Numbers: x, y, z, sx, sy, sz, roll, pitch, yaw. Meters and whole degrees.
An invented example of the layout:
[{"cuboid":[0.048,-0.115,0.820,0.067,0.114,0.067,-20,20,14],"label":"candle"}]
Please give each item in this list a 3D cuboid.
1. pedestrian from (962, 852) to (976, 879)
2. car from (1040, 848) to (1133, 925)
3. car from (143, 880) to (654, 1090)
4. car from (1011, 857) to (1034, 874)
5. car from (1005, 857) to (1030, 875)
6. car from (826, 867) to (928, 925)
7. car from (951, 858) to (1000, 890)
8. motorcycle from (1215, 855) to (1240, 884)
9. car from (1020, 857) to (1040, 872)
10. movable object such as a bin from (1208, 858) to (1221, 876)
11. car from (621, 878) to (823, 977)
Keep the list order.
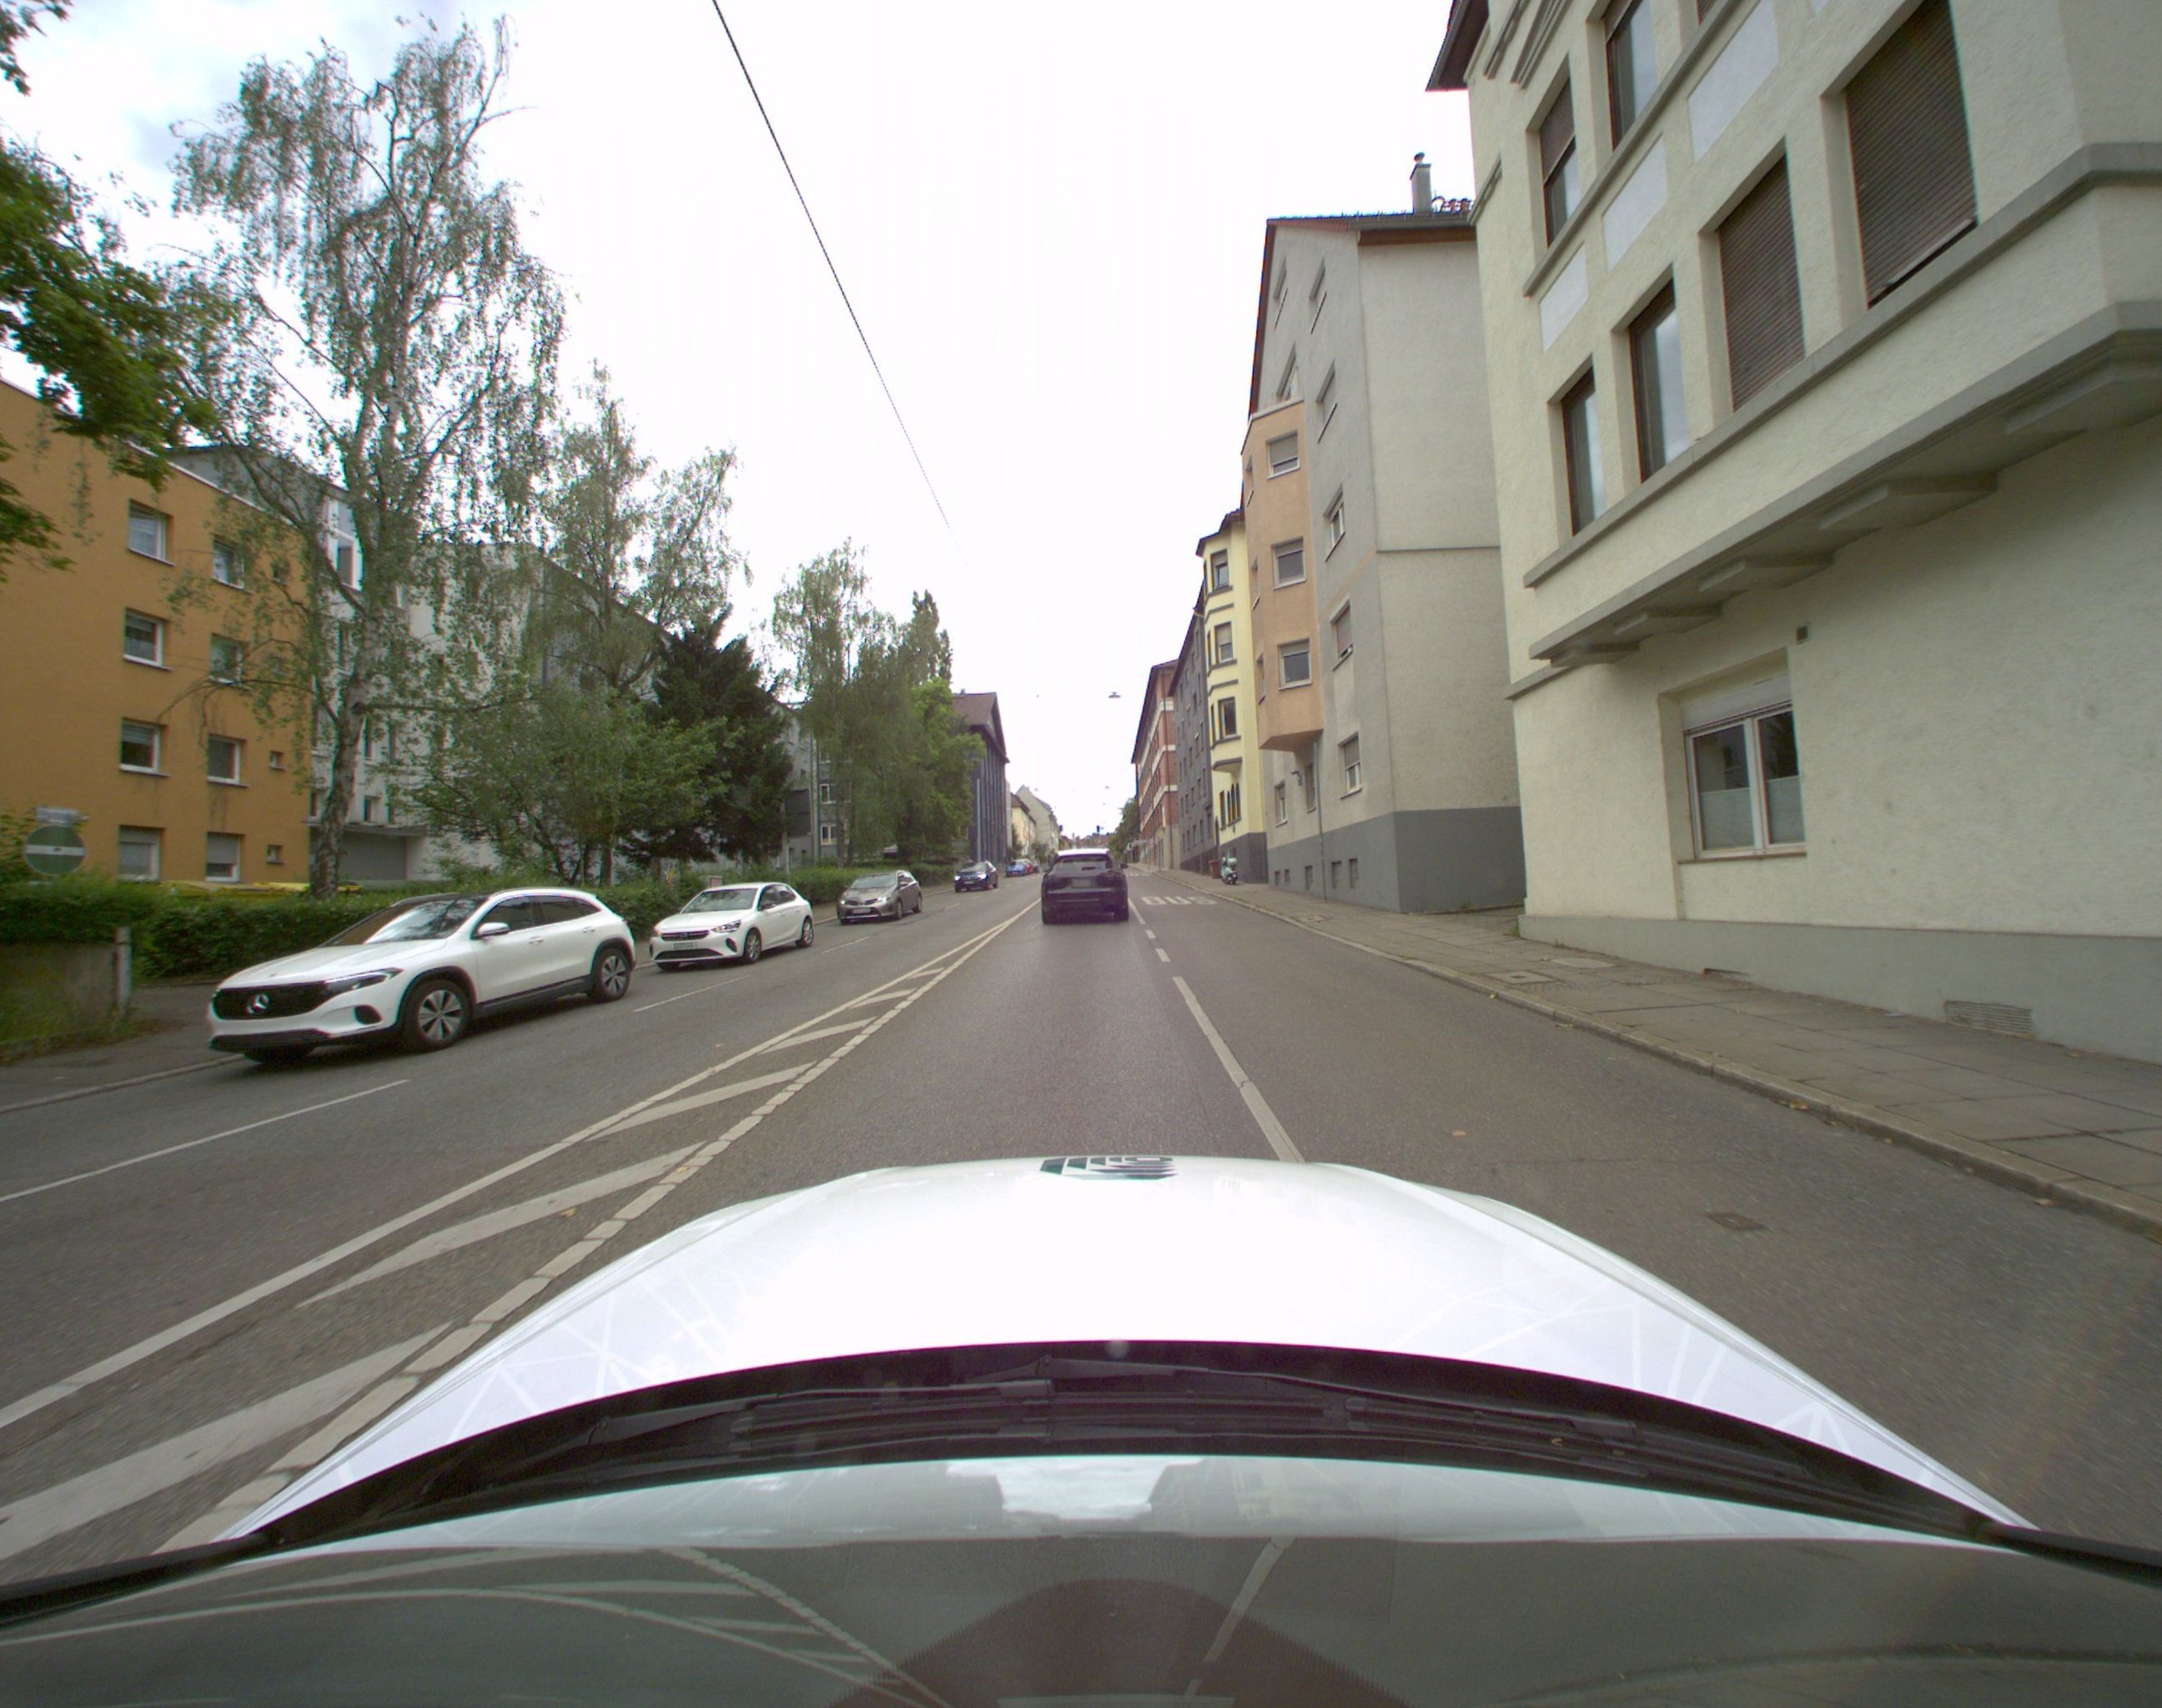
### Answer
[{"cuboid":[-8.136,0.837,59.221,0.879,1.950,0.868,0,0,1],"label":"pedestrian"},{"cuboid":[0.029,0.719,19.874,2.019,1.641,4.351,-1,0,-3],"label":"car"},{"cuboid":[-7.389,1.267,9.635,1.943,1.593,4.503,-5,0,4],"label":"car"},{"cuboid":[-5.629,1.060,79.020,1.707,1.456,3.992,-4,0,2],"label":"car"},{"cuboid":[-5.682,1.088,73.213,1.708,1.423,3.990,-4,0,1],"label":"car"},{"cuboid":[-6.166,1.230,25.122,1.832,1.448,4.312,-4,0,2],"label":"car"},{"cuboid":[-5.534,1.009,43.160,1.832,1.448,4.312,-4,0,2],"label":"car"},{"cuboid":[6.260,0.642,34.875,0.536,1.156,2.225,-5,0,-1],"label":"motorcycle"},{"cuboid":[-5.304,1.106,84.768,1.708,1.341,3.905,-4,0,1],"label":"car"},{"cuboid":[6.822,0.659,41.645,0.473,0.892,0.517,-5,0,0],"label":"movable object such as a bin"},{"cuboid":[-6.726,1.305,15.815,1.832,1.412,4.077,-5,0,3],"label":"car"}]
